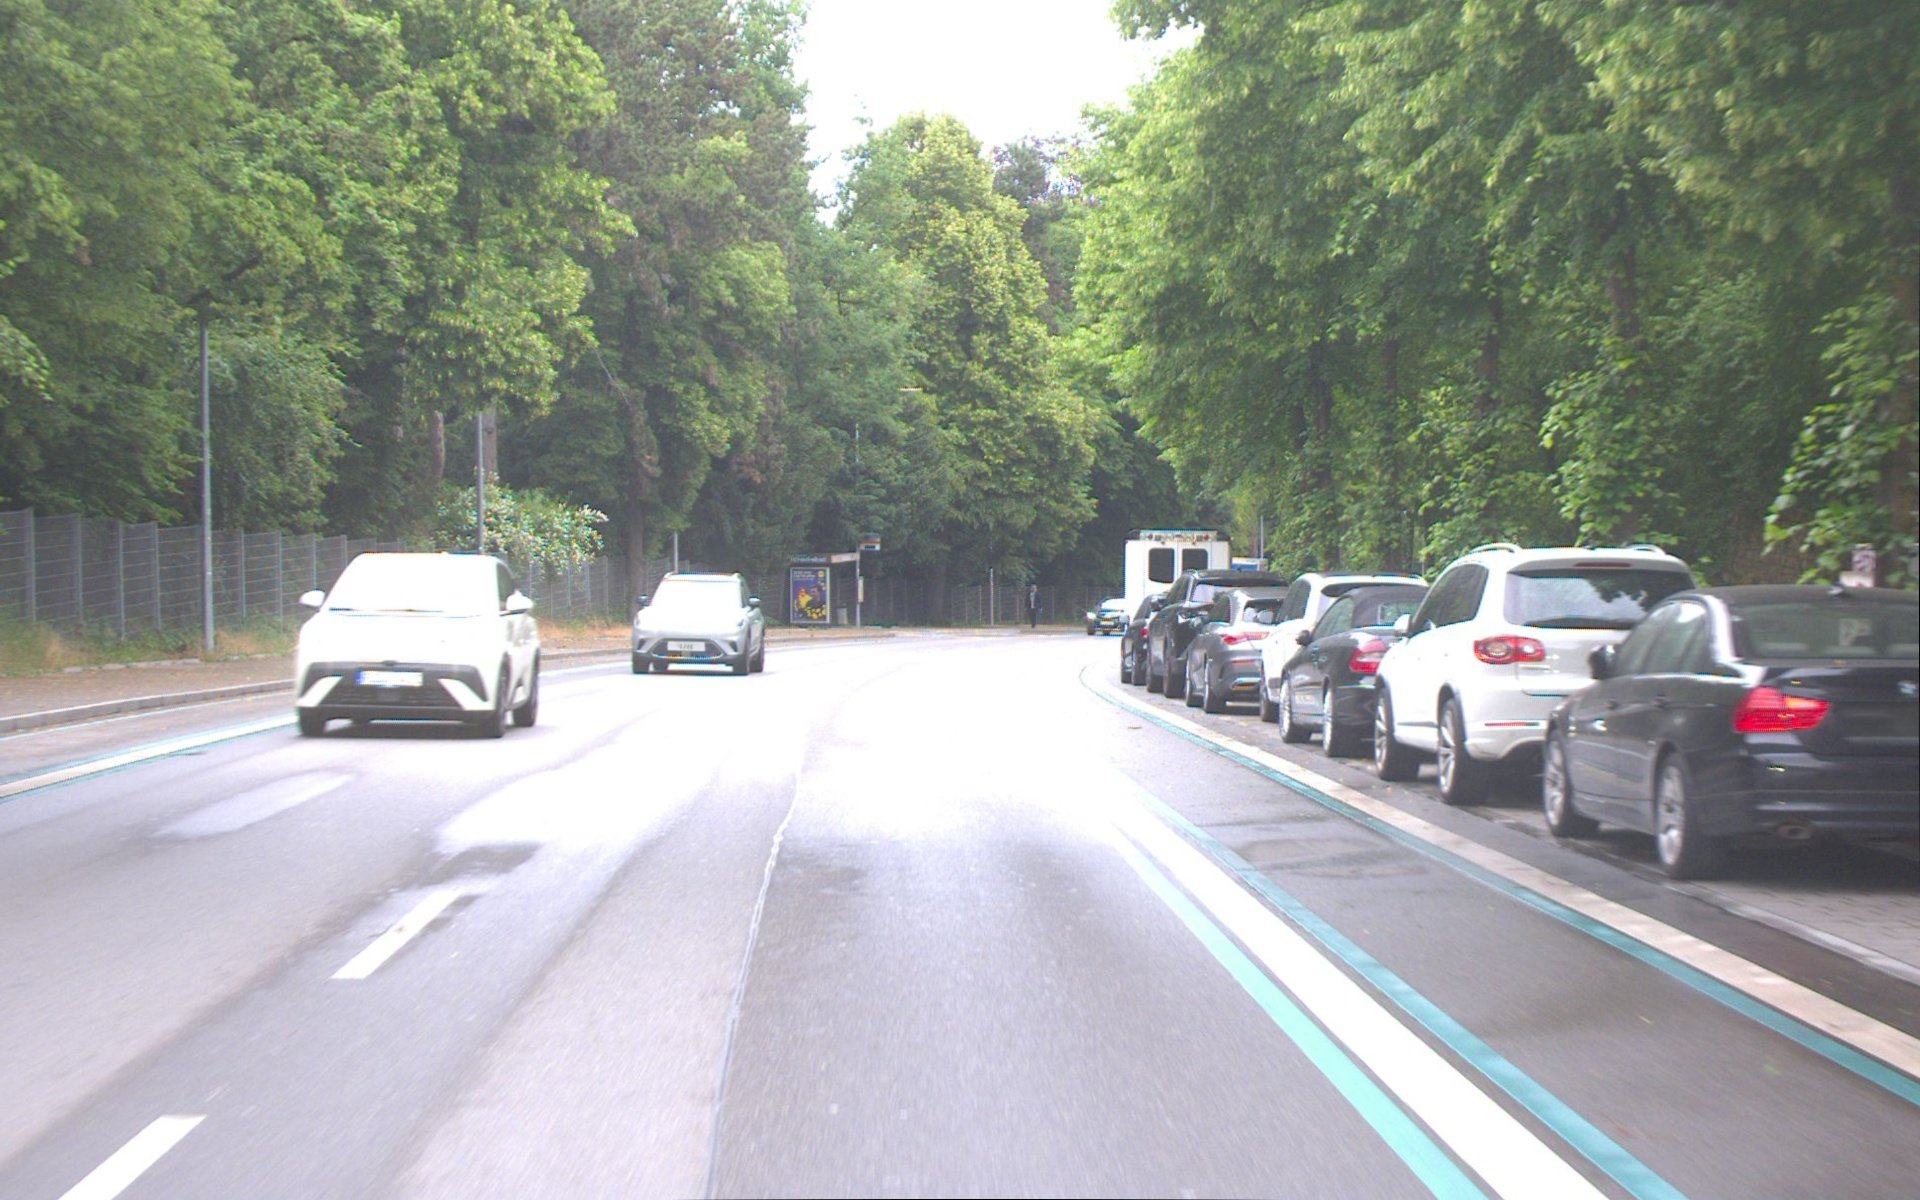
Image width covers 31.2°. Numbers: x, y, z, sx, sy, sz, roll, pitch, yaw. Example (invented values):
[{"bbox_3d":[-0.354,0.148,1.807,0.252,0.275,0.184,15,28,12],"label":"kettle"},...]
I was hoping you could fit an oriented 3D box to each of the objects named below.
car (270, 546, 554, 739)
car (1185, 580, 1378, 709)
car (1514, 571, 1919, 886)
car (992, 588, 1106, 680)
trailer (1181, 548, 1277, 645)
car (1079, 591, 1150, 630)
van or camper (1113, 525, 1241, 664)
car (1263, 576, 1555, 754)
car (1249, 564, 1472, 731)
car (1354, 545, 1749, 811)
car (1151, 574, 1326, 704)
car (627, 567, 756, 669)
[{"bbox_3d":[-4.680,0.314,29.852,1.971,1.546,3.870,0,1,-2],"label":"car"},{"bbox_3d":[3.597,0.492,39.148,1.775,1.343,4.466,1,0,0],"label":"car"},{"bbox_3d":[4.102,0.591,17.532,1.672,1.389,4.451,1,0,-2],"label":"car"},{"bbox_3d":[1.358,0.535,53.796,1.678,1.371,4.000,1,-1,0],"label":"car"},{"bbox_3d":[7.787,-0.086,98.976,2.317,2.663,5.374,1,0,9],"label":"trailer"},{"bbox_3d":[5.854,0.389,130.024,1.761,1.432,4.147,1,0,16],"label":"car"},{"bbox_3d":[4.474,-0.119,70.127,2.317,2.655,6.380,1,0,6],"label":"van or camper"},{"bbox_3d":[3.706,0.551,29.100,1.718,1.371,4.559,1,-1,-2],"label":"car"},{"bbox_3d":[3.923,0.448,34.162,1.661,1.530,3.741,2,0,-1],"label":"car"},{"bbox_3d":[3.859,0.472,23.127,1.713,1.613,4.261,1,0,-3],"label":"car"},{"bbox_3d":[3.674,0.538,46.053,1.993,1.639,4.348,1,-1,0],"label":"car"},{"bbox_3d":[-4.290,0.284,55.412,1.796,1.571,4.102,0,0,-1],"label":"car"}]
